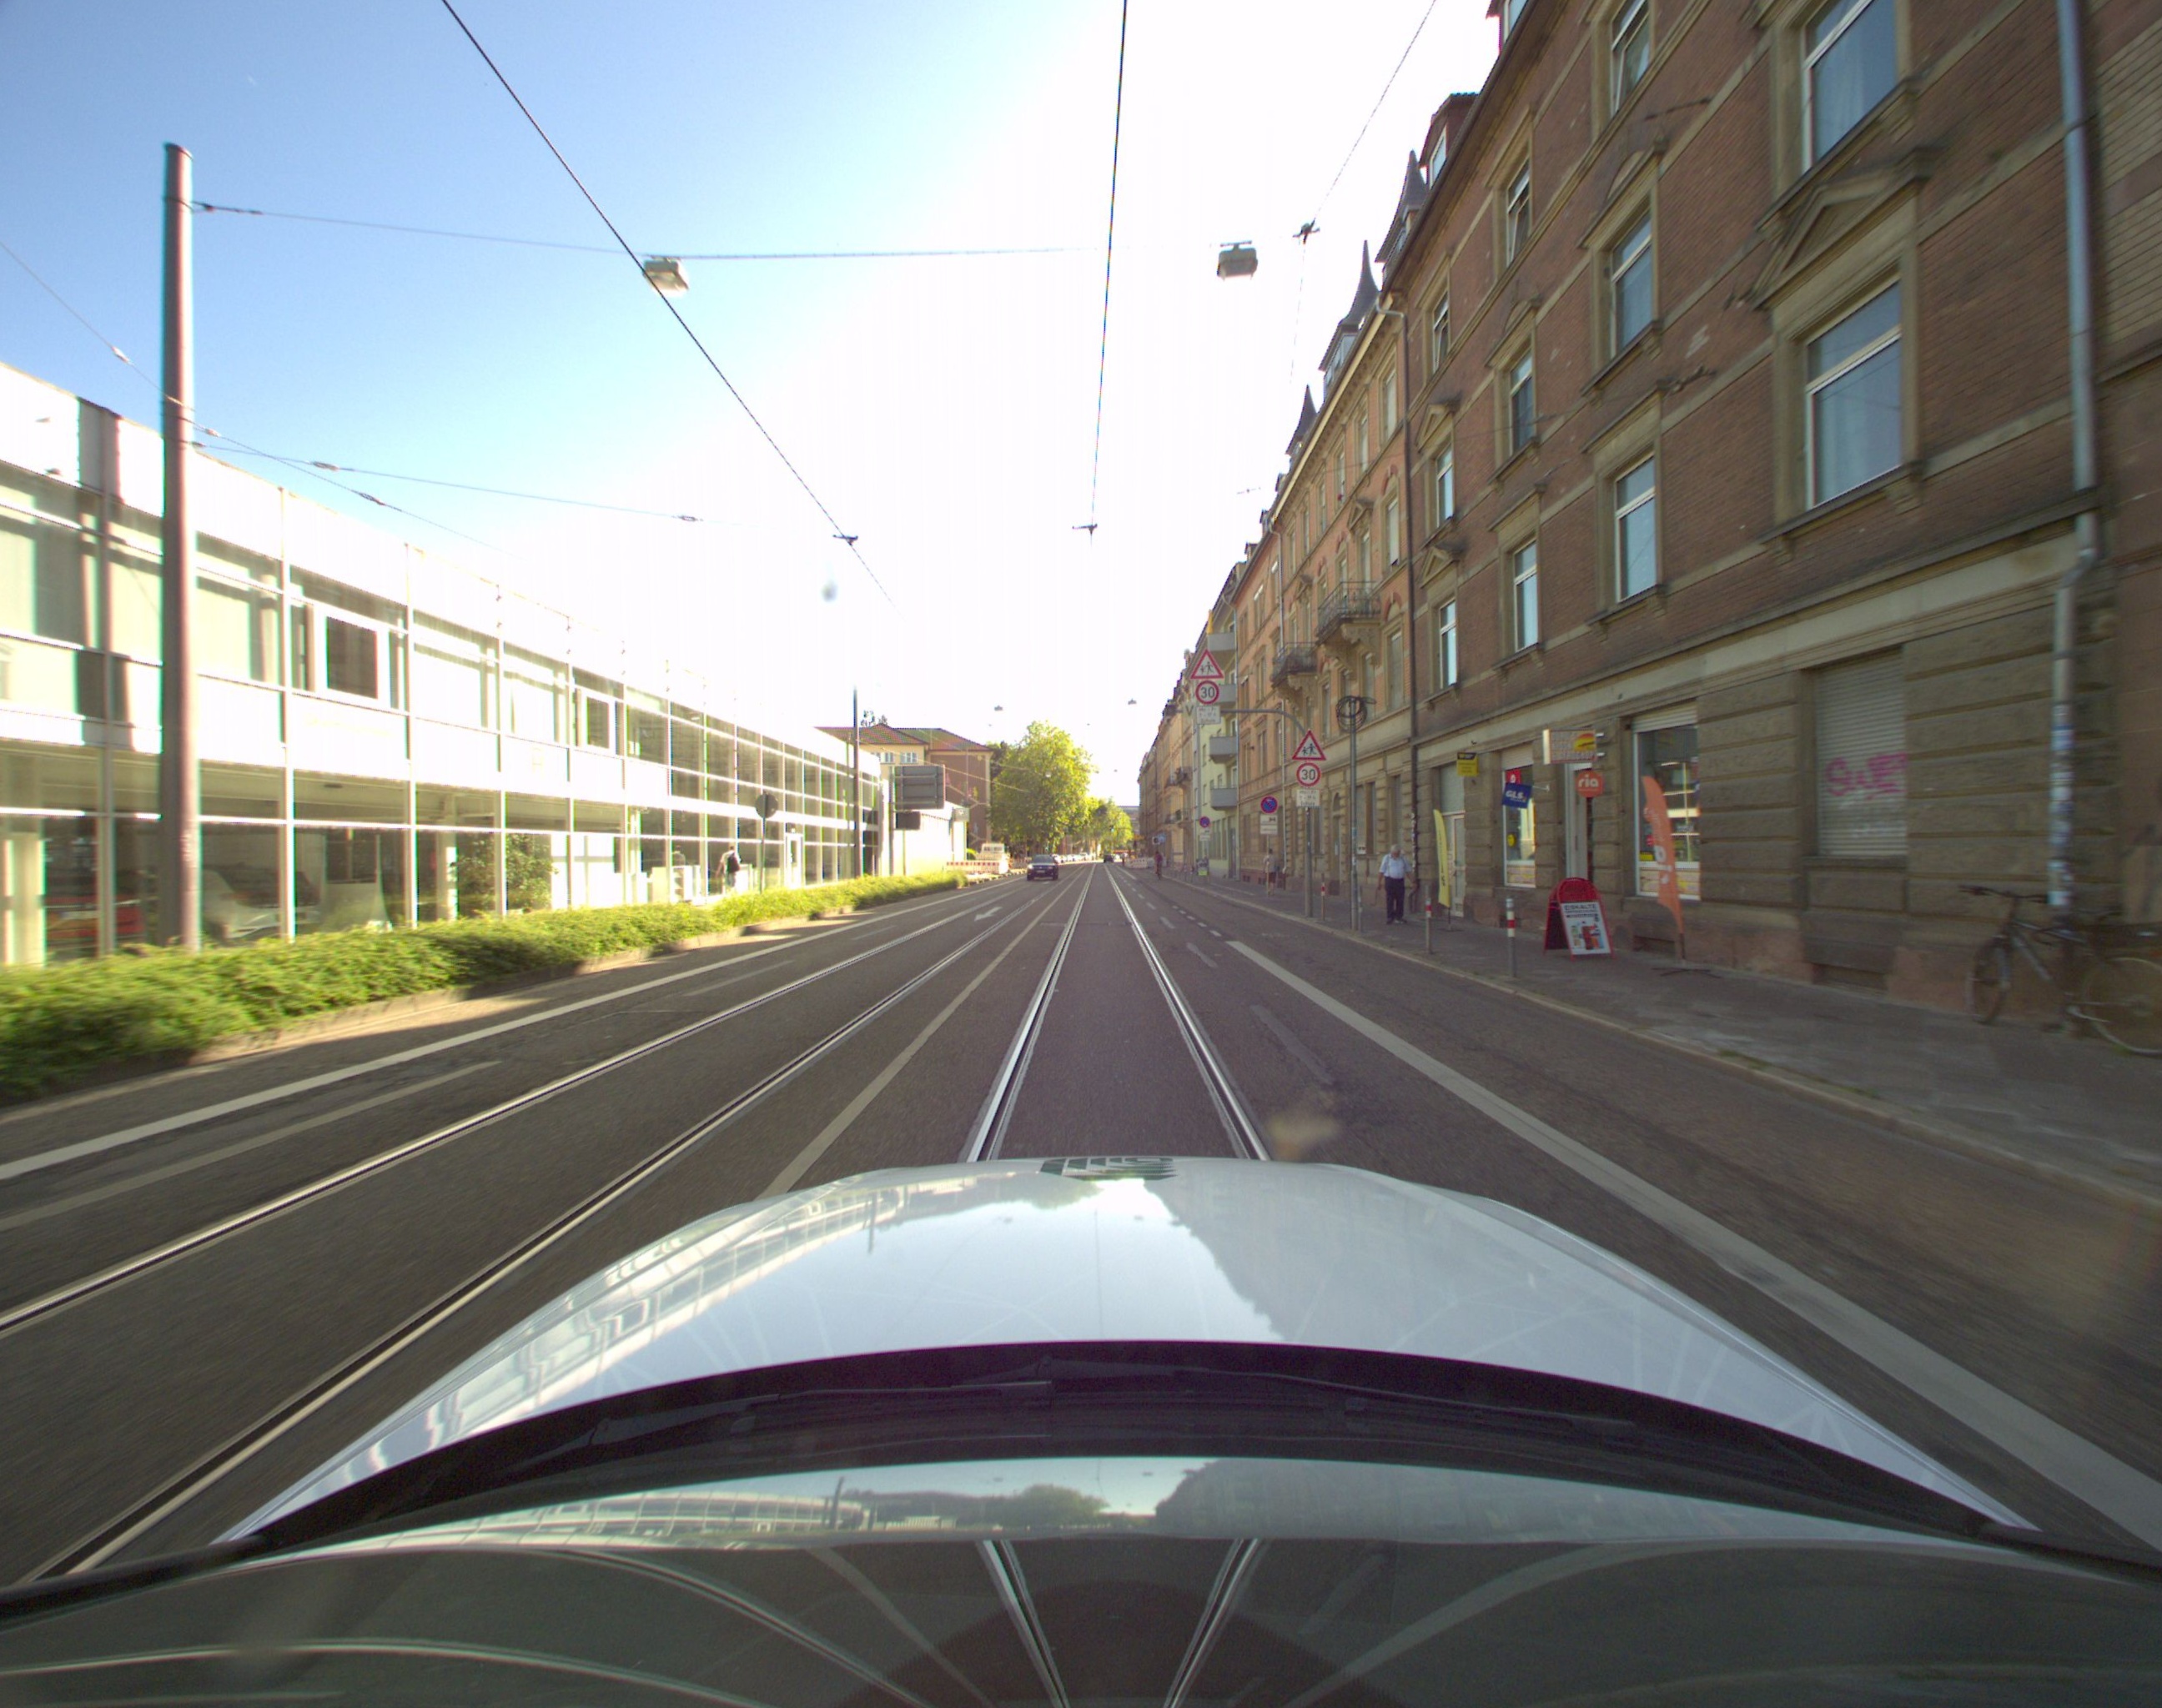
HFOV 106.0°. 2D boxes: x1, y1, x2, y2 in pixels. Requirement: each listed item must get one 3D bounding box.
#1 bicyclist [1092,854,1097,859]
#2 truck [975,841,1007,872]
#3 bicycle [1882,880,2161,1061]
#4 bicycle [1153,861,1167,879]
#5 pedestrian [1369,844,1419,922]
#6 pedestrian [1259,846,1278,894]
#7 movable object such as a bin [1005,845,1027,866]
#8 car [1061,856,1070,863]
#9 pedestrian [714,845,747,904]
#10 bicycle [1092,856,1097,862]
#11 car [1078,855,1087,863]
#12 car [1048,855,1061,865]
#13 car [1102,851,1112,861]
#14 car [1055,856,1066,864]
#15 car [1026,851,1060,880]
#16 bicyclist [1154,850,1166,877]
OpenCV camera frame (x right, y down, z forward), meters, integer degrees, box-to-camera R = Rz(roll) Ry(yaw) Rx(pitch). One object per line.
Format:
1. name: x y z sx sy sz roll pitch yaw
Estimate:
1. bicyclist: 3.890 0.741 231.807 1.071 1.427 1.149 1 -1 9
2. truck: -8.446 0.273 77.111 2.532 2.830 6.370 1 -1 -2
3. bicycle: 7.202 0.784 6.212 0.408 1.121 1.900 -2 -1 5
4. bicycle: 5.035 1.026 52.287 0.678 1.114 2.707 1 0 1
5. pedestrian: 6.602 0.613 17.193 0.795 1.605 0.653 -1 -1 3
6. pedestrian: 6.813 0.588 29.556 0.550 1.701 0.474 -3 -1 6
7. movable object such as a bin: -8.584 0.214 108.274 2.488 2.645 5.985 1 0 -1
8. car: -3.445 1.227 181.000 1.740 1.495 4.047 1 -1 4
9. pedestrian: -10.766 0.625 25.034 0.525 1.765 1.051 1 -1 1
10. bicycle: 3.837 1.353 231.841 1.227 1.572 2.904 1 -1 8
11. car: 0.322 1.321 211.762 2.049 2.052 4.047 1 -1 4
12. car: -4.619 1.021 142.524 1.740 1.608 4.047 1 -1 4
13. car: 5.094 0.409 158.590 1.986 2.014 4.001 1 -1 2
14. car: -4.024 1.186 158.053 1.740 1.509 4.047 1 -1 4
15. car: -2.370 0.722 51.593 1.752 1.697 4.146 1 -1 2
16. bicyclist: 5.031 0.615 52.217 0.665 1.697 1.043 1 -1 1
